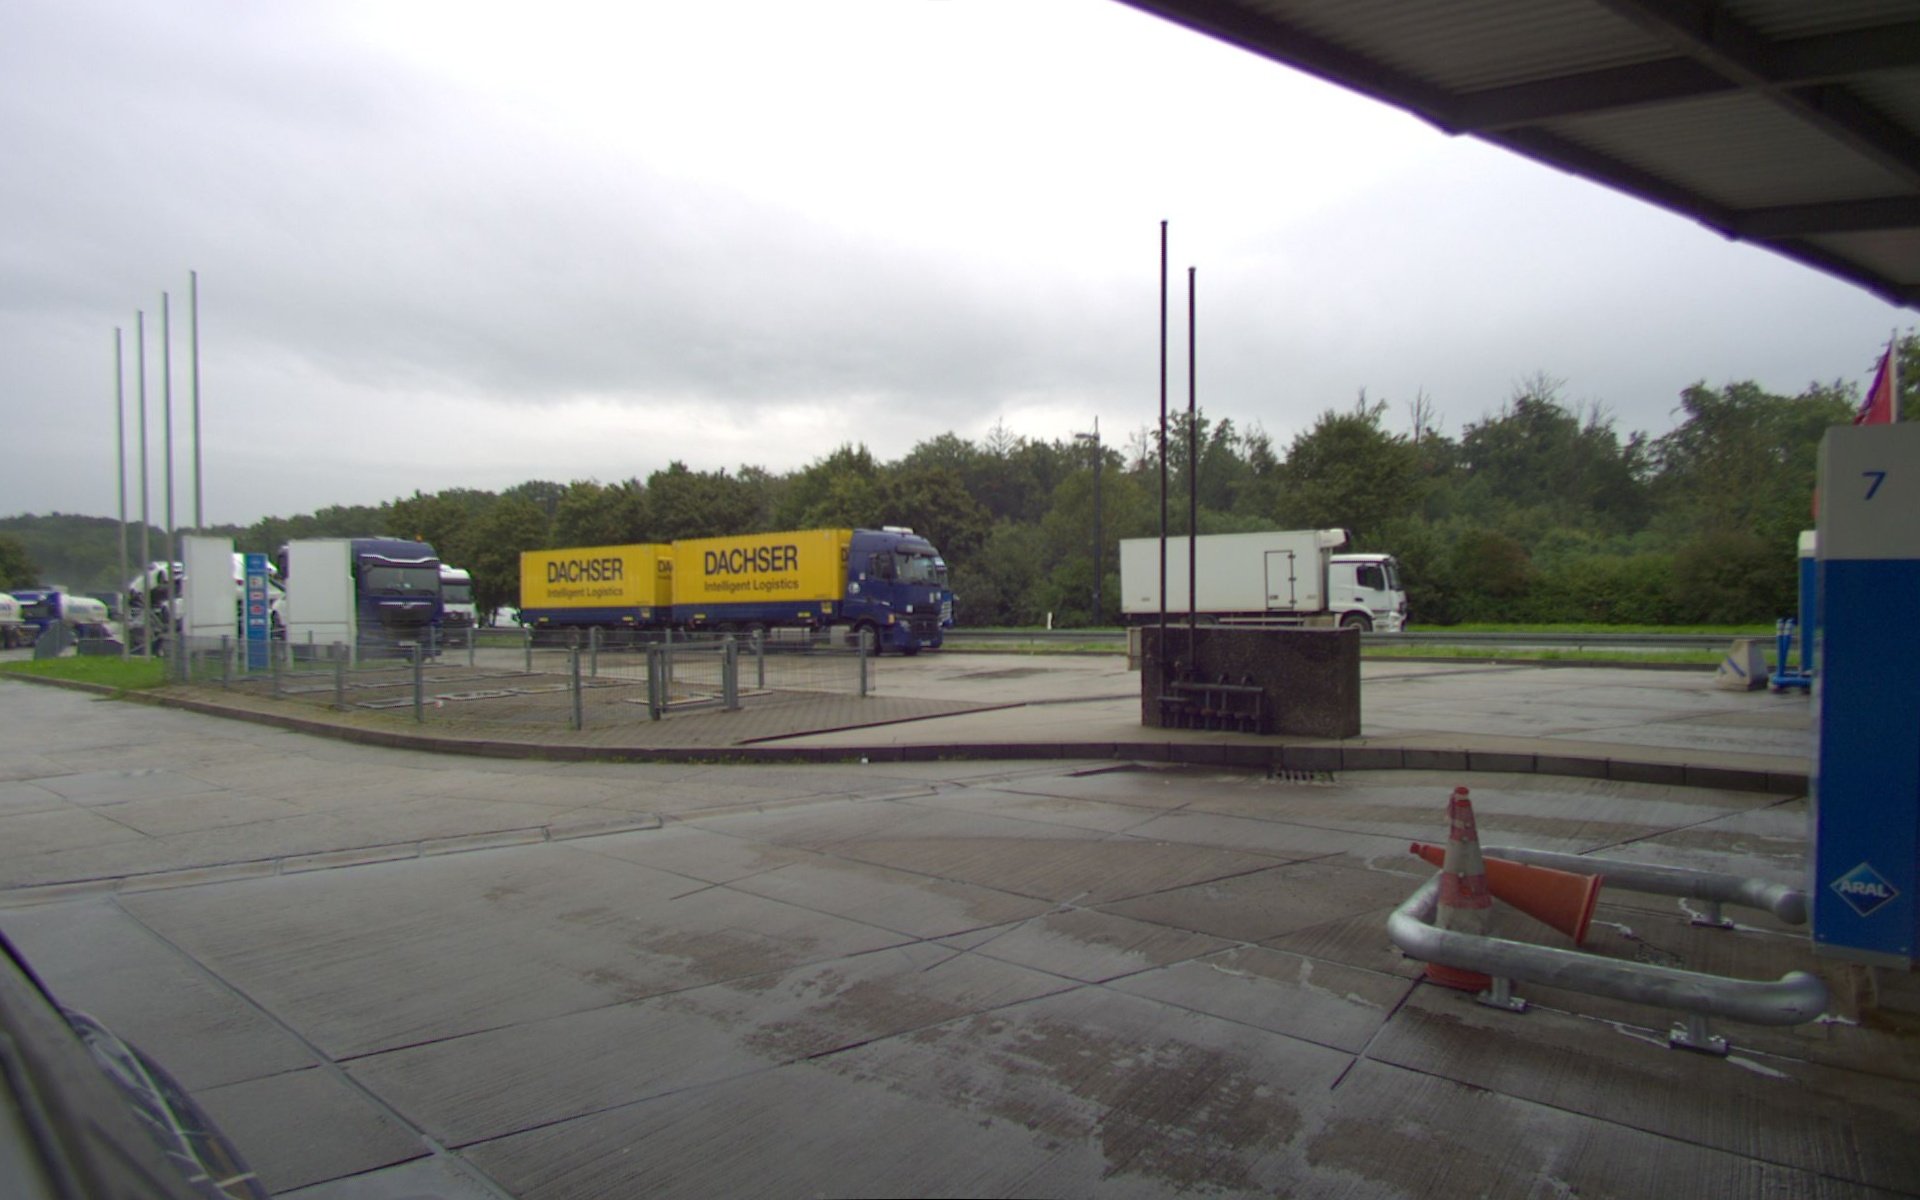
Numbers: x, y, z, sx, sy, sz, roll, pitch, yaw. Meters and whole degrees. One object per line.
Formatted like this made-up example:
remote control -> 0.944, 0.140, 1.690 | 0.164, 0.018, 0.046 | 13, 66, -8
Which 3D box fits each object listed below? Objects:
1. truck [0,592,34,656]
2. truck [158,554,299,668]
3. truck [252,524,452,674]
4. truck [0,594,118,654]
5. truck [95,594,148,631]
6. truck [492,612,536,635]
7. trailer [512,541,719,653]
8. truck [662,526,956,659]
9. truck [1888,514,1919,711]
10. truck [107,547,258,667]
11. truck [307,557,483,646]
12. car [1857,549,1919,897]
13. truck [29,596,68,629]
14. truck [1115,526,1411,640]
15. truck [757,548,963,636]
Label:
truck -> -55.144, 1.340, 53.684 | 3.454, 3.633, 14.444 | -1, -1, -19
truck -> -26.096, 0.396, 36.066 | 4.738, 3.800, 2.635 | -1, 0, 34
truck -> -18.999, 0.012, 31.470 | 7.089, 4.213, 2.635 | -1, 0, 35
truck -> -61.481, 1.624, 68.651 | 3.454, 3.633, 14.709 | -1, -1, -27
truck -> -120.649, 1.792, 145.526 | 11.498, 5.160, 3.109 | -1, 0, 36
truck -> -44.646, 2.355, 101.256 | 4.620, 2.282, 1.712 | -1, 0, 30
trailer -> -13.488, -0.073, 39.250 | 8.679, 3.946, 2.728 | -1, 0, 32
truck -> -5.326, -0.178, 34.020 | 10.654, 3.946, 2.727 | -1, 0, 33
truck -> 15.002, 0.124, 11.944 | 5.859, 2.513, 2.208 | -1, 0, 41
truck -> -29.578, 0.300, 38.440 | 6.605, 4.213, 2.635 | -1, 0, 35
truck -> -27.307, 0.105, 48.621 | 10.654, 3.946, 2.727 | -1, 0, 33
car -> 6.918, 0.542, 3.790 | 5.269, 1.620, 1.842 | -1, 0, 41
truck -> -122.594, 1.684, 136.090 | 11.525, 4.160, 3.101 | -1, 0, 44
truck -> 10.980, -0.518, 37.439 | 10.195, 3.836, 2.395 | -1, 0, 31
truck -> -4.867, -0.314, 47.635 | 10.195, 3.836, 2.395 | -1, 0, 31
